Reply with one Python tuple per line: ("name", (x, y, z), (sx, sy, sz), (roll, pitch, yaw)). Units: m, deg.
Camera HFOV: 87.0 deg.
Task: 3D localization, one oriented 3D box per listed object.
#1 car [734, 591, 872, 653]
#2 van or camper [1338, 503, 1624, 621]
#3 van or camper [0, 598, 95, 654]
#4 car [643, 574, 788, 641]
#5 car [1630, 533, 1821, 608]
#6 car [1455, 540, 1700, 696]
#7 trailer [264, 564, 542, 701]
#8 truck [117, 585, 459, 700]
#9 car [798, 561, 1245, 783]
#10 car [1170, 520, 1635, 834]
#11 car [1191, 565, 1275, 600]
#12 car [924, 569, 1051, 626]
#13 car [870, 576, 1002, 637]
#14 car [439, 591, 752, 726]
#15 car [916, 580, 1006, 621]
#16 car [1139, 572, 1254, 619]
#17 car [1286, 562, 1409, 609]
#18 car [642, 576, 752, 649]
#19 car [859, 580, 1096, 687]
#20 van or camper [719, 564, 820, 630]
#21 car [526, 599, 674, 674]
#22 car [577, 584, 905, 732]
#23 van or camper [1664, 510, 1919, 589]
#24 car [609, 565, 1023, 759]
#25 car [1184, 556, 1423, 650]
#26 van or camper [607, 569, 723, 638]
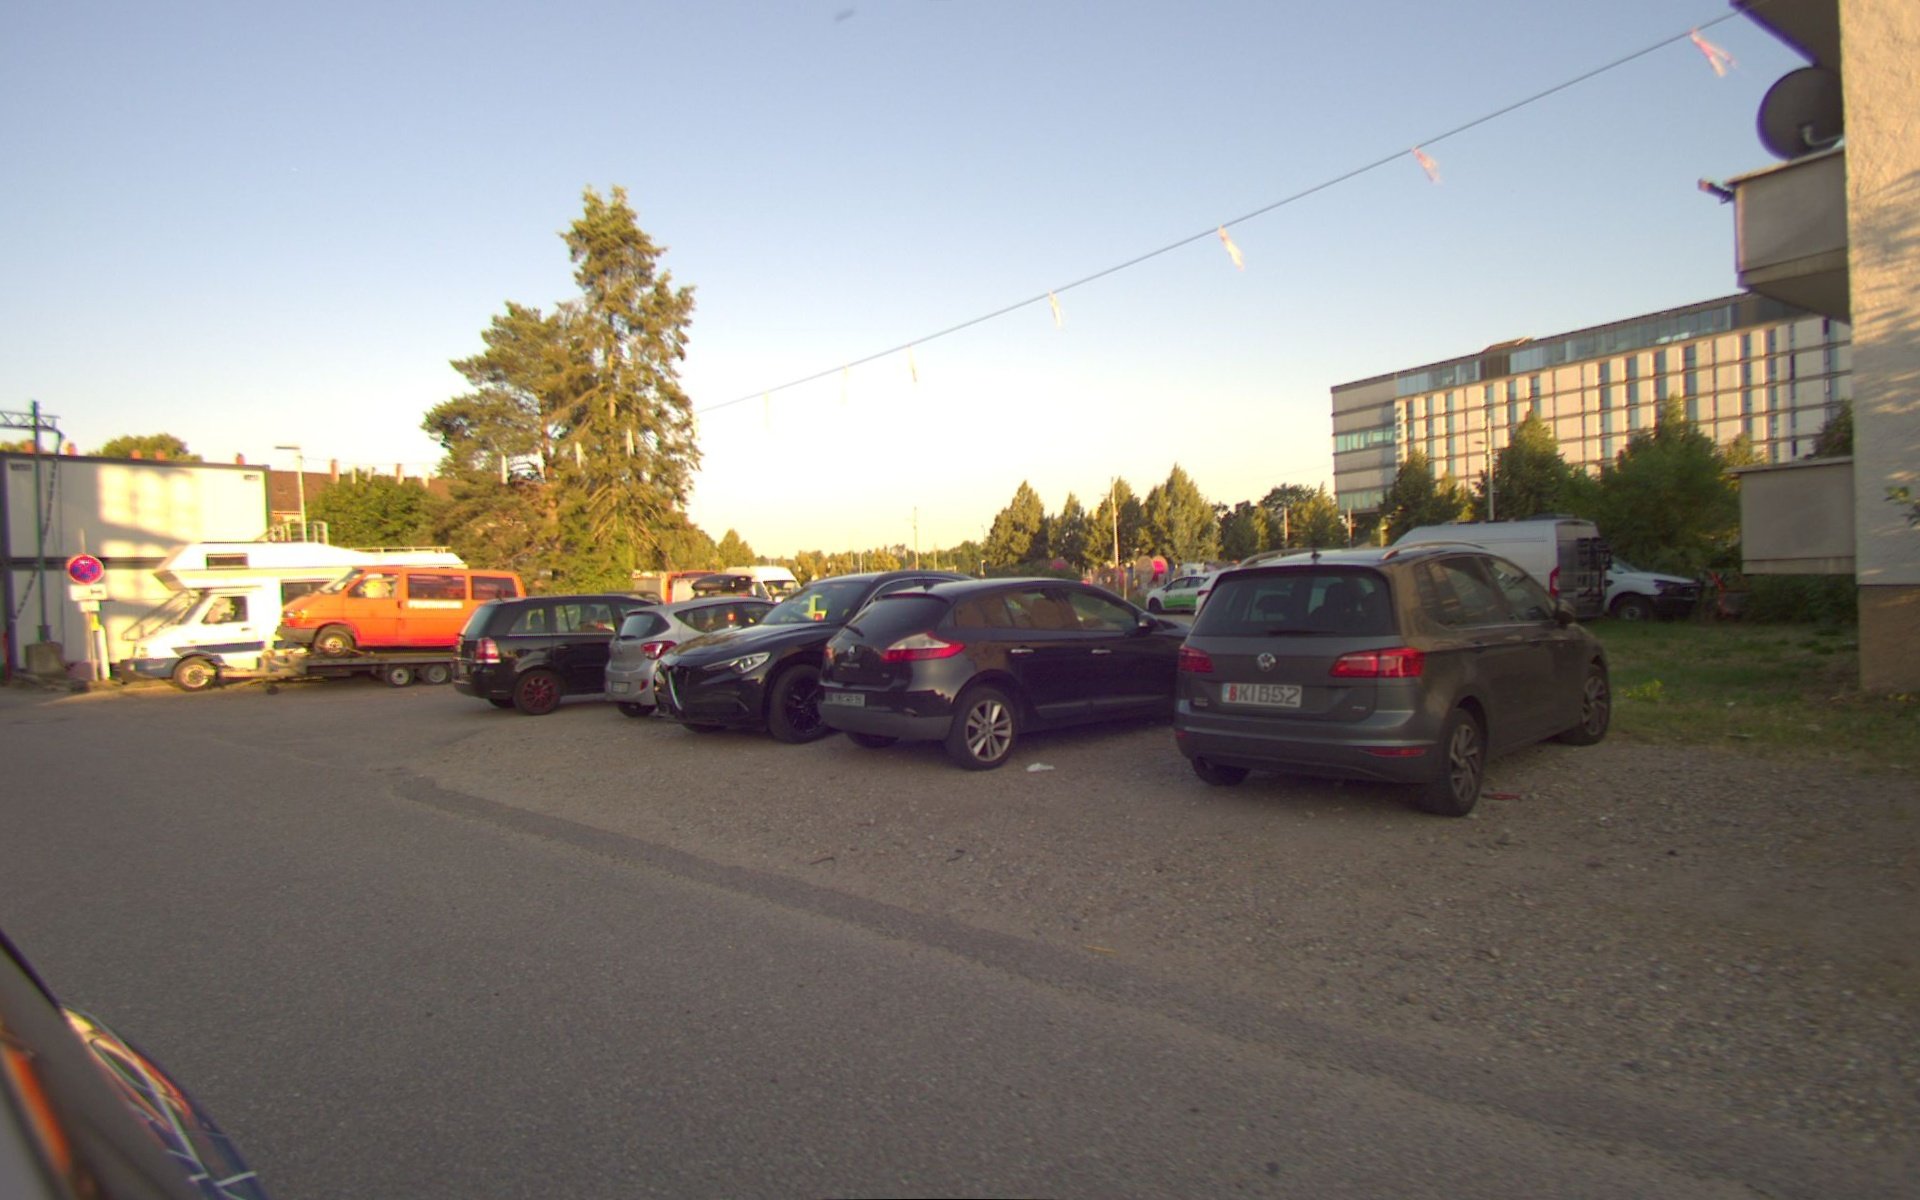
("car", (-4.343, 0.583, 27.606), (1.821, 1.534, 3.943), (-3, 1, -43))
("van or camper", (11.802, -0.777, 23.440), (1.818, 2.411, 5.700), (-2, 1, -32))
("van or camper", (-51.242, 1.490, 54.728), (2.407, 2.659, 6.386), (-2, 3, 43))
("car", (-6.280, 0.189, 25.746), (1.822, 1.534, 3.942), (-3, 1, -43))
("car", (22.508, -0.826, 29.900), (1.966, 2.029, 4.012), (-2, 0, -32))
("car", (7.585, 0.145, 12.277), (1.644, 1.592, 3.881), (-3, 0, 45))
("trailer", (-11.742, 0.556, 21.542), (4.734, 2.450, 2.137), (-4, 3, -42))
("truck", (-14.724, 0.811, 22.512), (2.357, 2.058, 5.944), (-2, 1, 44))
("car", (0.683, 0.466, 9.057), (3.876, 1.528, 1.646), (-3, 2, -39))
("car", (3.278, 0.350, 7.079), (1.644, 1.592, 3.881), (-3, 0, 45))
("car", (13.118, -0.831, 48.793), (1.541, 1.536, 3.886), (-2, 1, -31))
("car", (0.826, -0.050, 32.454), (1.821, 1.681, 3.943), (-3, 1, -43))
("car", (-0.776, 0.196, 30.723), (1.821, 1.681, 3.943), (-3, 1, -43))
("car", (-5.365, 0.762, 15.132), (3.985, 1.632, 1.853), (-3, 1, -39))
("car", (-0.031, 0.041, 51.754), (2.023, 1.951, 5.119), (-2, 1, -34))
("car", (8.439, -0.151, 36.402), (1.636, 1.551, 3.949), (-2, 1, -34))
("car", (16.413, -0.566, 43.097), (1.656, 1.856, 4.852), (-2, 1, -31))
("car", (-9.070, 0.475, 34.592), (1.819, 2.165, 4.832), (-3, -2, -37))
("car", (0.161, 0.509, 17.094), (1.819, 1.534, 4.160), (-3, 1, -36))
("van or camper", (-8.705, -0.115, 45.741), (2.174, 2.728, 5.761), (-2, 1, -36))
("car", (-8.540, 0.820, 23.827), (1.822, 1.534, 3.942), (-3, 1, -43))
("car", (-2.883, 0.692, 13.707), (3.876, 1.532, 1.812), (-4, 0, -39))
("van or camper", (24.705, -1.412, 30.352), (1.816, 2.010, 5.613), (-1, 0, -32))
("car", (-1.361, 0.513, 10.734), (1.821, 1.640, 4.044), (-3, 0, 44))
("car", (6.739, 0.054, 20.320), (1.818, 1.643, 4.329), (-2, 1, -32))
("van or camper", (-13.013, 0.162, 44.348), (5.802, 2.791, 2.231), (-2, 1, 44))
